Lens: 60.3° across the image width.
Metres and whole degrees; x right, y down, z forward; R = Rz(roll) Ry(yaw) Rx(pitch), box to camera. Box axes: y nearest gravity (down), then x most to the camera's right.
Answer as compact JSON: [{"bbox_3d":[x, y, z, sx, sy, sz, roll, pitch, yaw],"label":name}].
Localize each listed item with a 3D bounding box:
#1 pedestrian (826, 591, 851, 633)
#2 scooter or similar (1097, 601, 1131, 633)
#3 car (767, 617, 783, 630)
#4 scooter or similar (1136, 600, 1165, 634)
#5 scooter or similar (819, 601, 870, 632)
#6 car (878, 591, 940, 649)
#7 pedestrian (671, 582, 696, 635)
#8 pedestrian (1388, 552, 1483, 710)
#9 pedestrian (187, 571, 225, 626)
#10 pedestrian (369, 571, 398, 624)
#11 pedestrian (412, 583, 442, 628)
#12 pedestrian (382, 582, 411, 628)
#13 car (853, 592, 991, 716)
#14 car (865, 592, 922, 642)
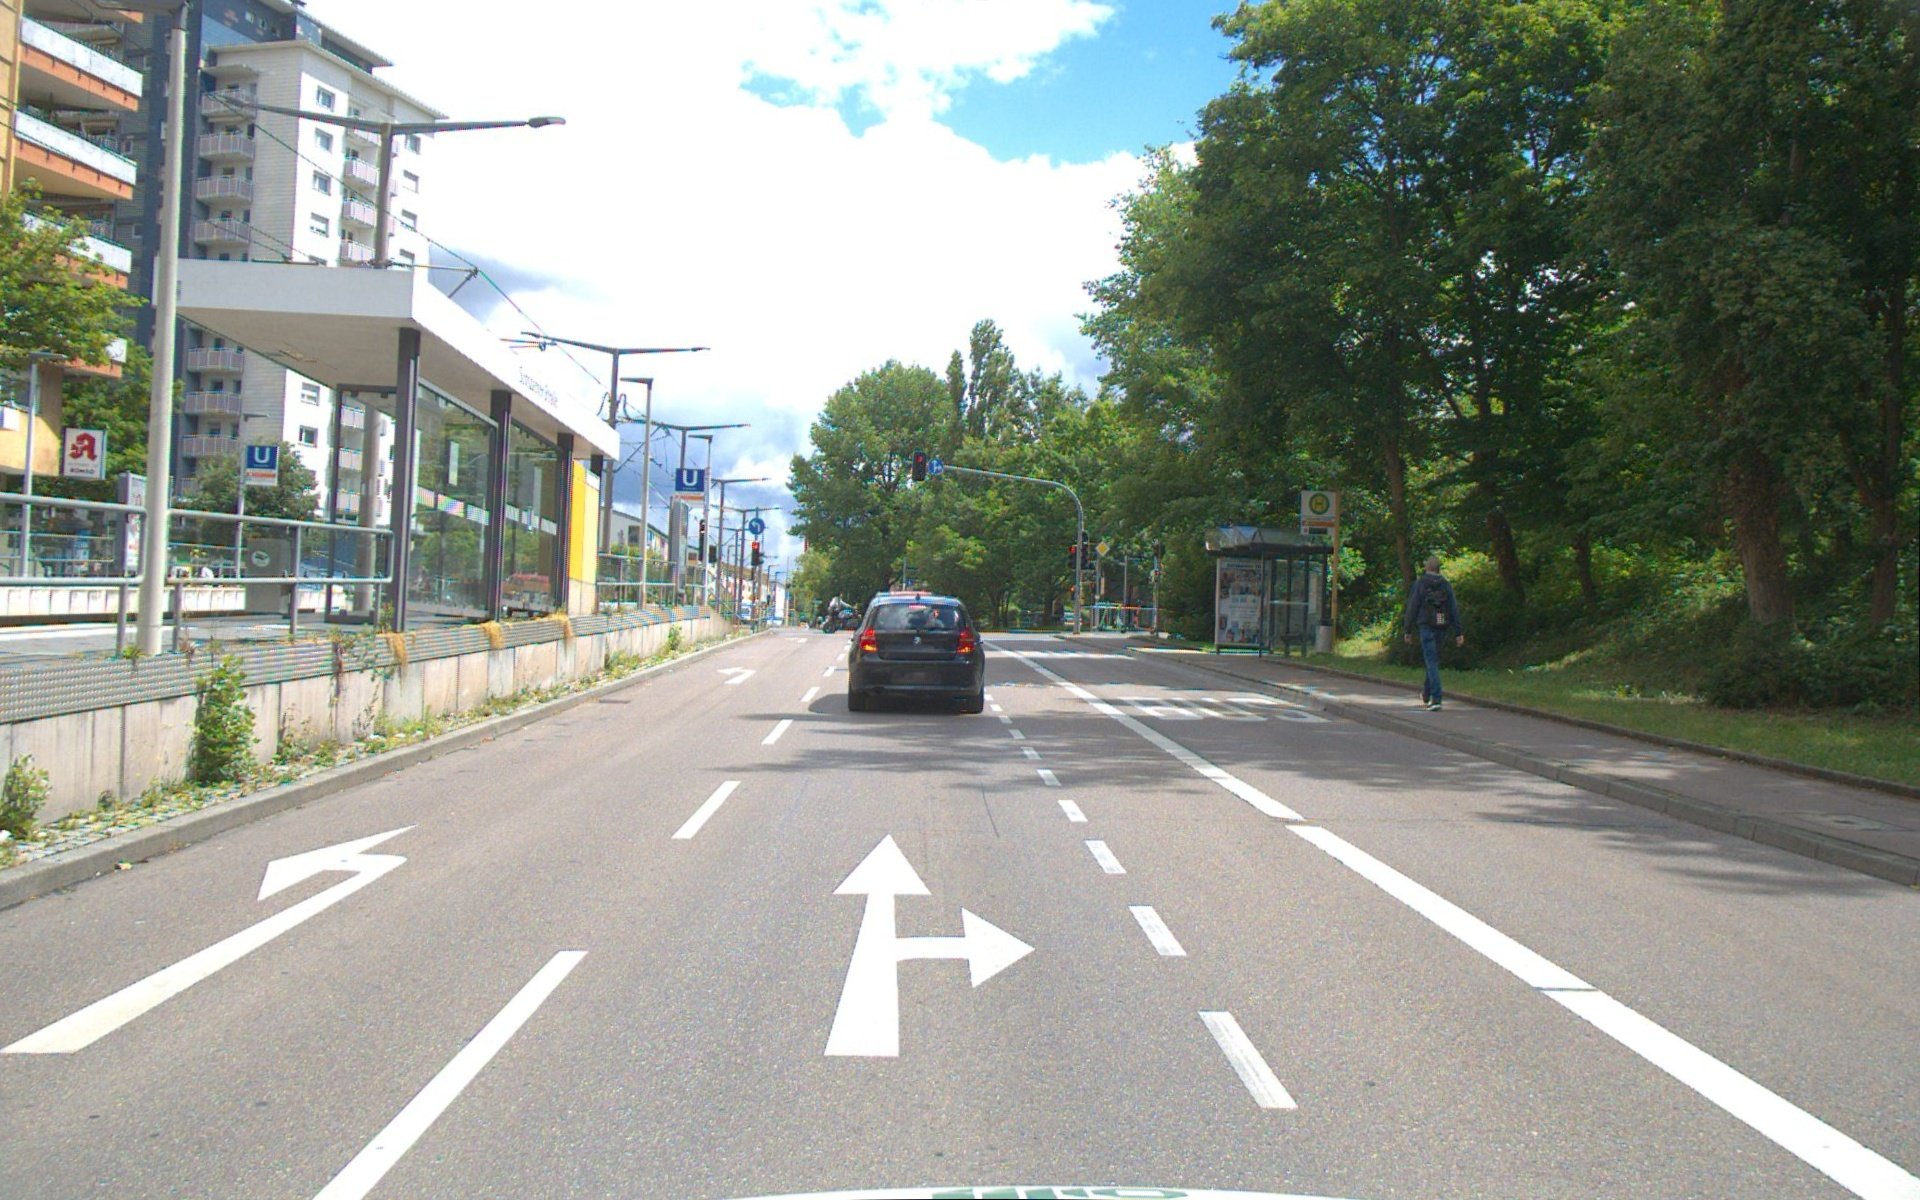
[{"bbox_3d":[-4.303,0.433,58.816,0.848,1.468,0.798,1,0,-3],"label":"pedestrian"},{"bbox_3d":[5.884,0.634,63.154,1.268,1.210,0.383,1,0,-18],"label":"scooter or similar"},{"bbox_3d":[-25.325,3.245,226.687,1.928,1.624,3.996,1,0,-4],"label":"car"},{"bbox_3d":[7.379,0.665,64.059,1.088,1.280,0.331,1,0,-14],"label":"scooter or similar"},{"bbox_3d":[-4.075,0.594,58.293,1.750,1.069,0.409,1,0,-14],"label":"scooter or similar"},{"bbox_3d":[-1.325,0.500,43.460,1.562,1.443,3.516,1,0,-1],"label":"car"},{"bbox_3d":[-8.734,0.276,52.277,0.687,1.661,0.637,0,0,-3],"label":"pedestrian"},{"bbox_3d":[6.043,0.378,21.070,0.785,1.928,1.270,2,0,-1],"label":"pedestrian"},{"bbox_3d":[-24.067,-0.054,52.797,0.839,1.726,0.690,1,0,13],"label":"pedestrian"},{"bbox_3d":[-17.984,-0.073,51.638,0.595,1.611,0.775,1,0,1],"label":"pedestrian"},{"bbox_3d":[-16.500,0.168,51.159,0.680,1.366,0.851,1,0,-32],"label":"pedestrian"},{"bbox_3d":[-17.220,0.152,50.570,0.656,1.366,0.552,1,0,40],"label":"pedestrian"},{"bbox_3d":[-0.458,0.634,21.388,1.621,1.443,3.516,1,0,0],"label":"car"},{"bbox_3d":[-2.064,0.499,50.526,1.622,1.443,3.514,1,0,-4],"label":"car"}]
